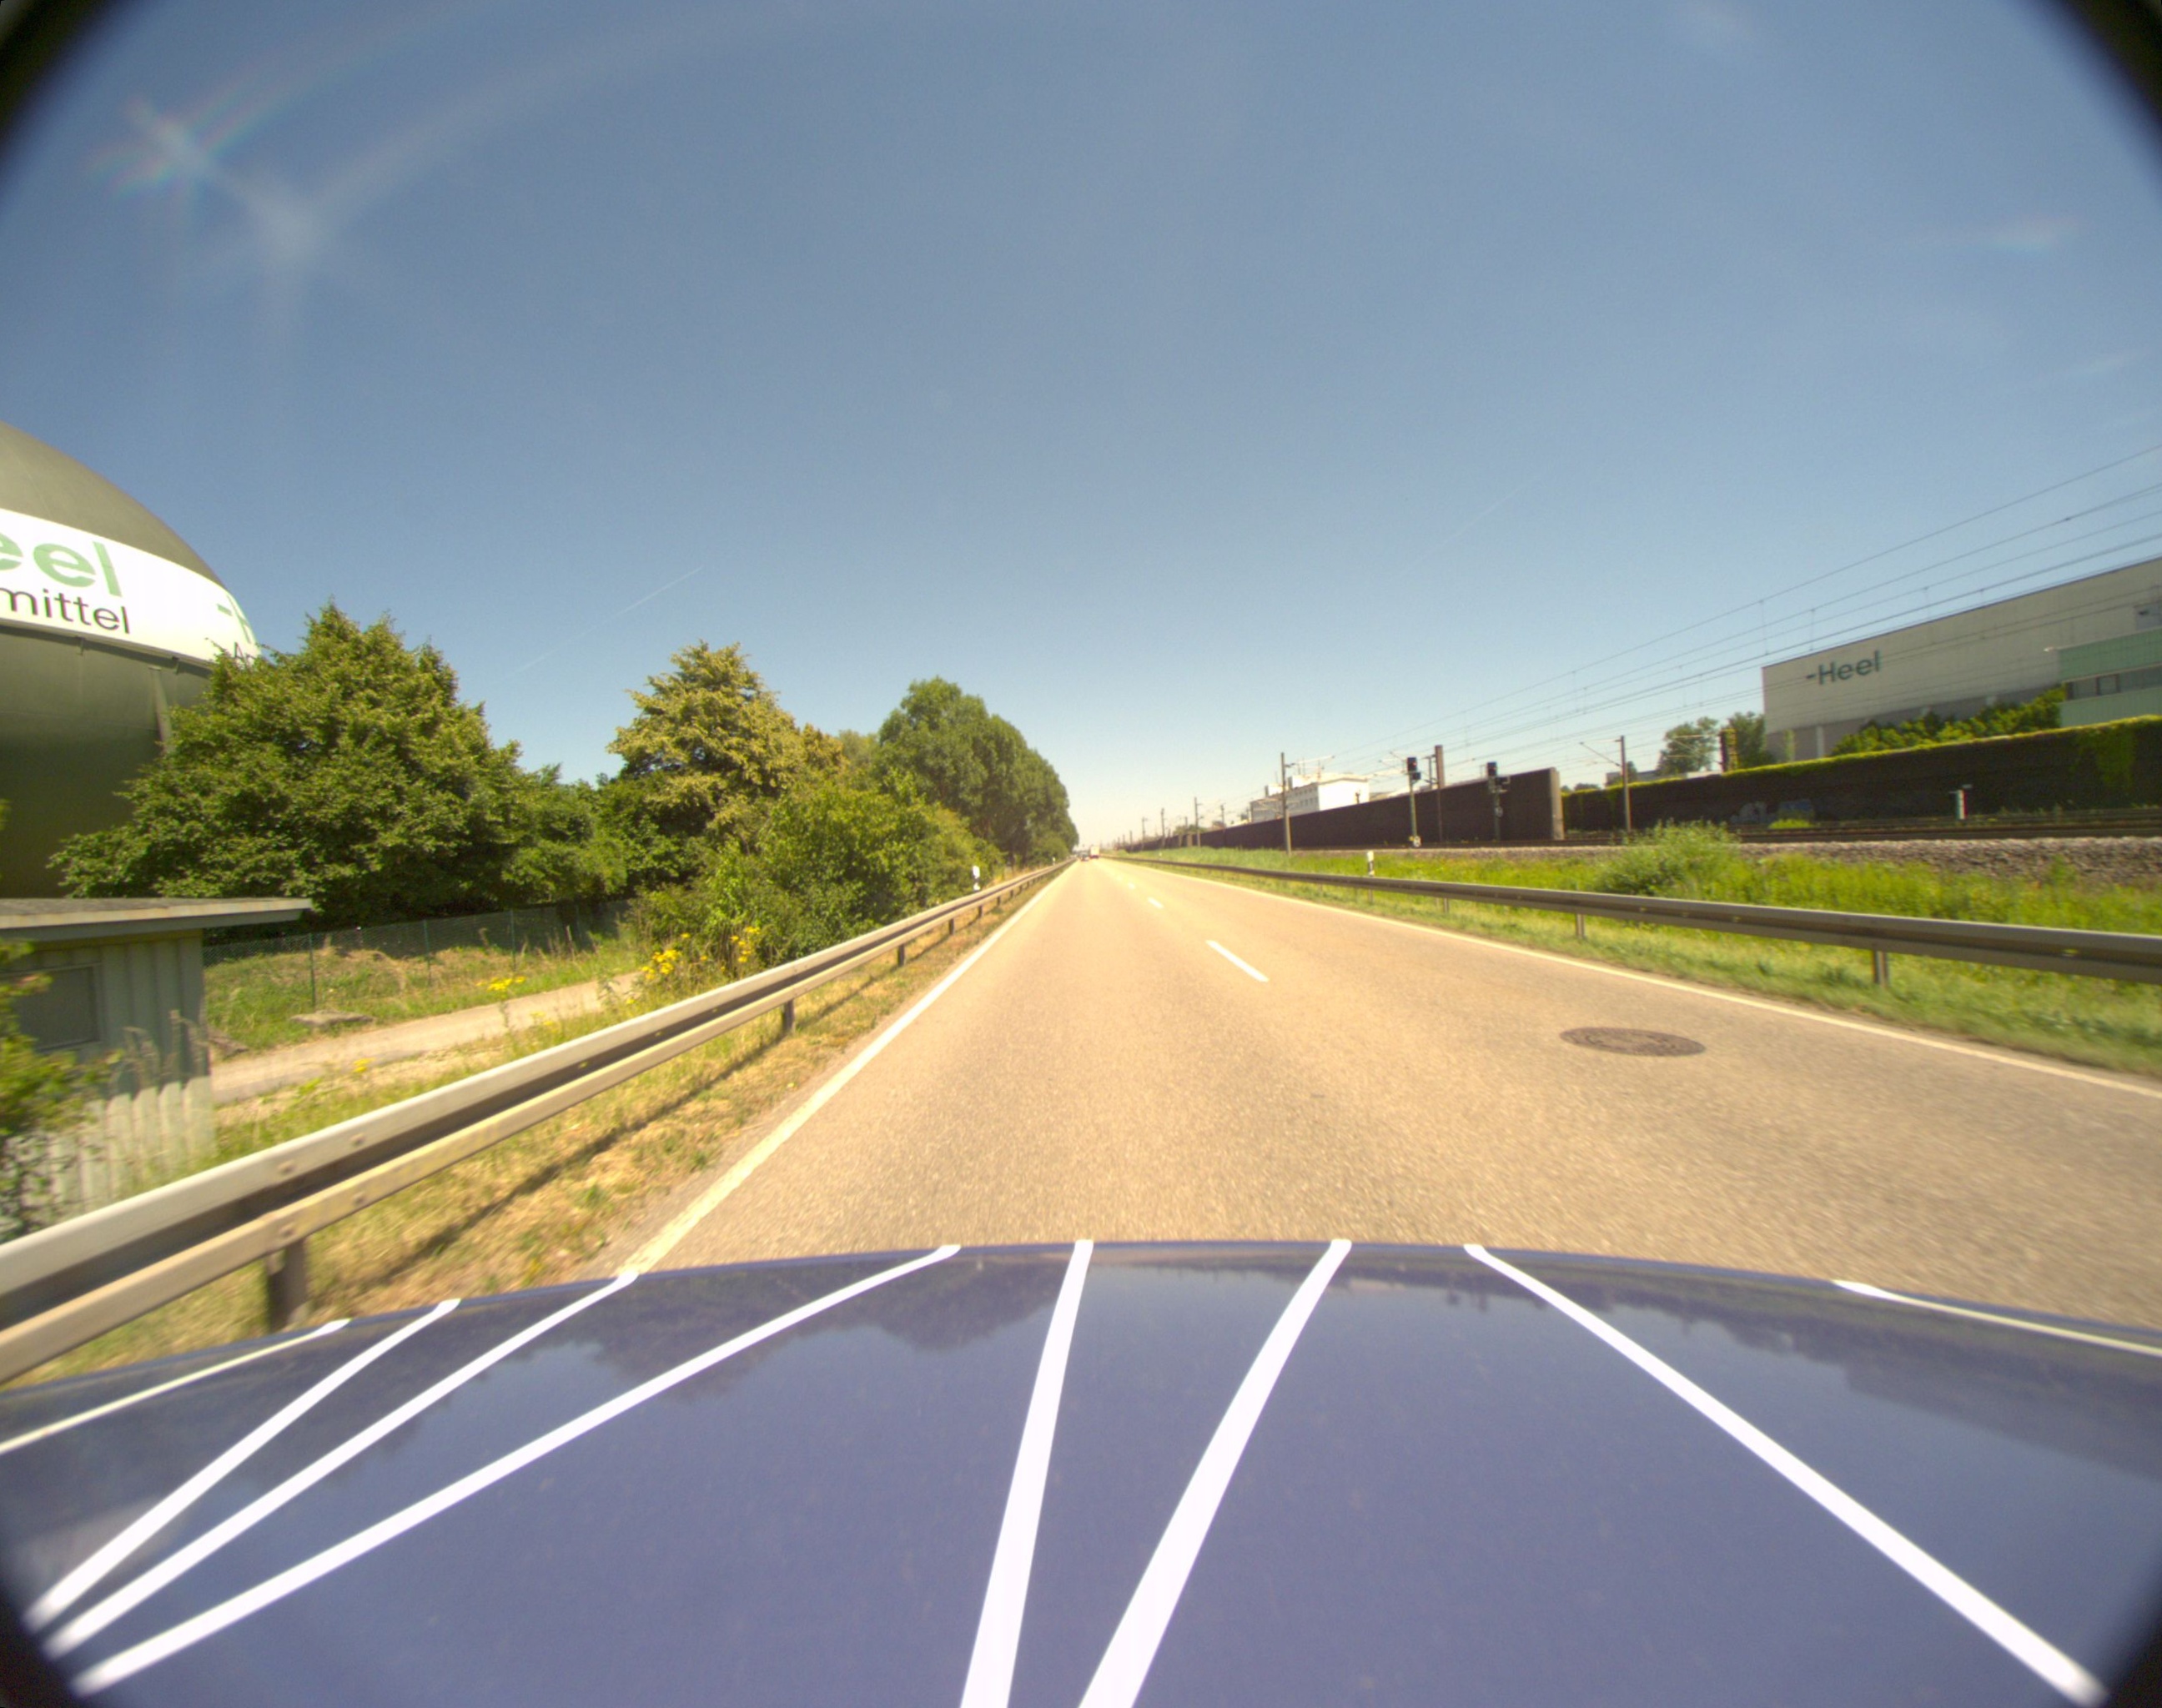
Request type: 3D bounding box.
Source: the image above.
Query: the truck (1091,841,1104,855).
[{"bbox_3d":[5.265,-1.829,241.704,2.805,3.955,10.495,-7,1,-3],"label":"truck"}]

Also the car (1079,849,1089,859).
[{"bbox_3d":[0.602,0.029,171.704,1.999,2.002,3.999,-3,0,-1],"label":"car"}]
